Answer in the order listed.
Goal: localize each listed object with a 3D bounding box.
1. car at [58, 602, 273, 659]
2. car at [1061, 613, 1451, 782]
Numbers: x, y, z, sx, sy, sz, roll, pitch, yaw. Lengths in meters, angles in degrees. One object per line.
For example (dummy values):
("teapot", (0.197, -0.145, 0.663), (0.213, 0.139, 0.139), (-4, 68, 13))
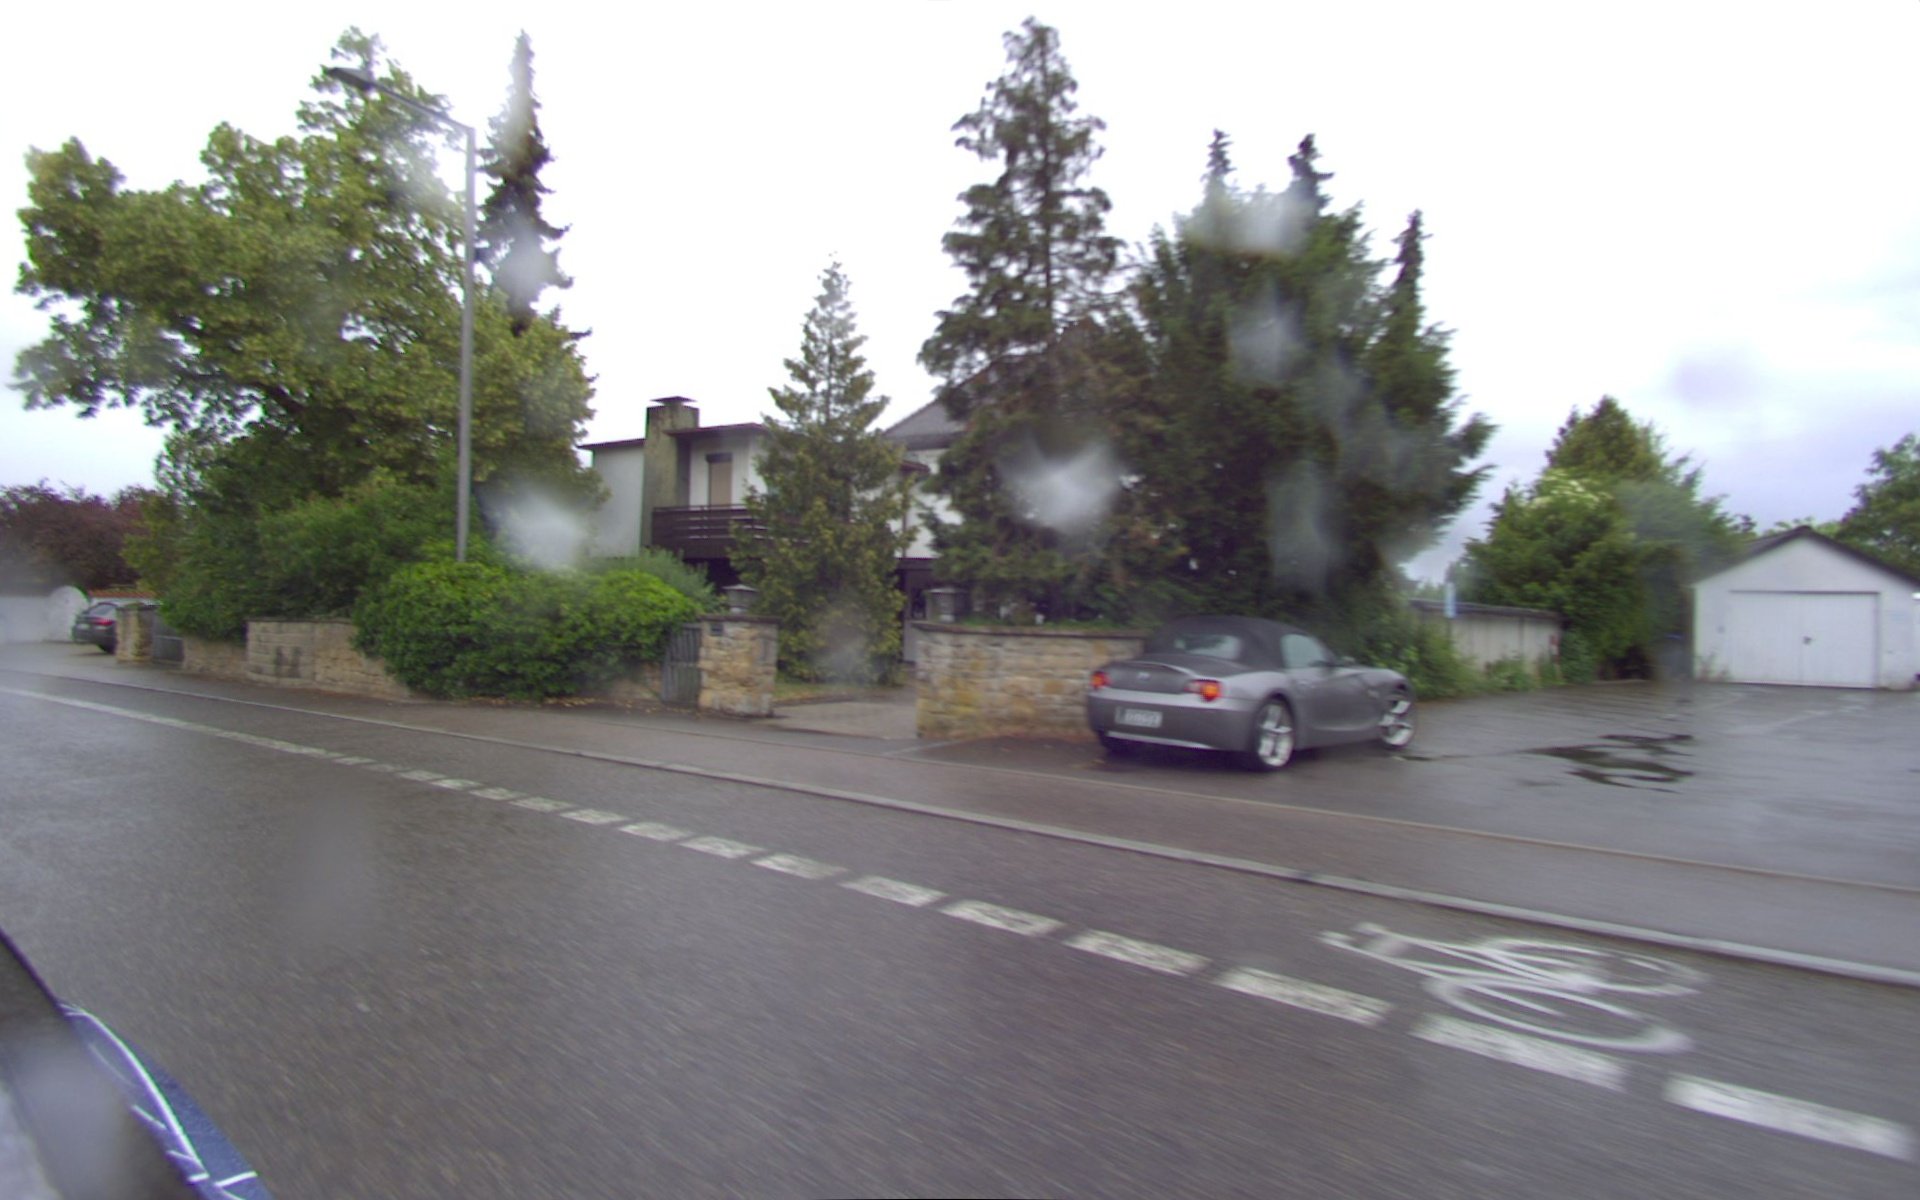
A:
("car", (-22.535, 0.825, 28.934), (1.830, 1.487, 4.512), (-1, -1, 28))
("car", (2.972, 0.769, 9.721), (3.940, 1.281, 1.875), (1, -1, -44))
